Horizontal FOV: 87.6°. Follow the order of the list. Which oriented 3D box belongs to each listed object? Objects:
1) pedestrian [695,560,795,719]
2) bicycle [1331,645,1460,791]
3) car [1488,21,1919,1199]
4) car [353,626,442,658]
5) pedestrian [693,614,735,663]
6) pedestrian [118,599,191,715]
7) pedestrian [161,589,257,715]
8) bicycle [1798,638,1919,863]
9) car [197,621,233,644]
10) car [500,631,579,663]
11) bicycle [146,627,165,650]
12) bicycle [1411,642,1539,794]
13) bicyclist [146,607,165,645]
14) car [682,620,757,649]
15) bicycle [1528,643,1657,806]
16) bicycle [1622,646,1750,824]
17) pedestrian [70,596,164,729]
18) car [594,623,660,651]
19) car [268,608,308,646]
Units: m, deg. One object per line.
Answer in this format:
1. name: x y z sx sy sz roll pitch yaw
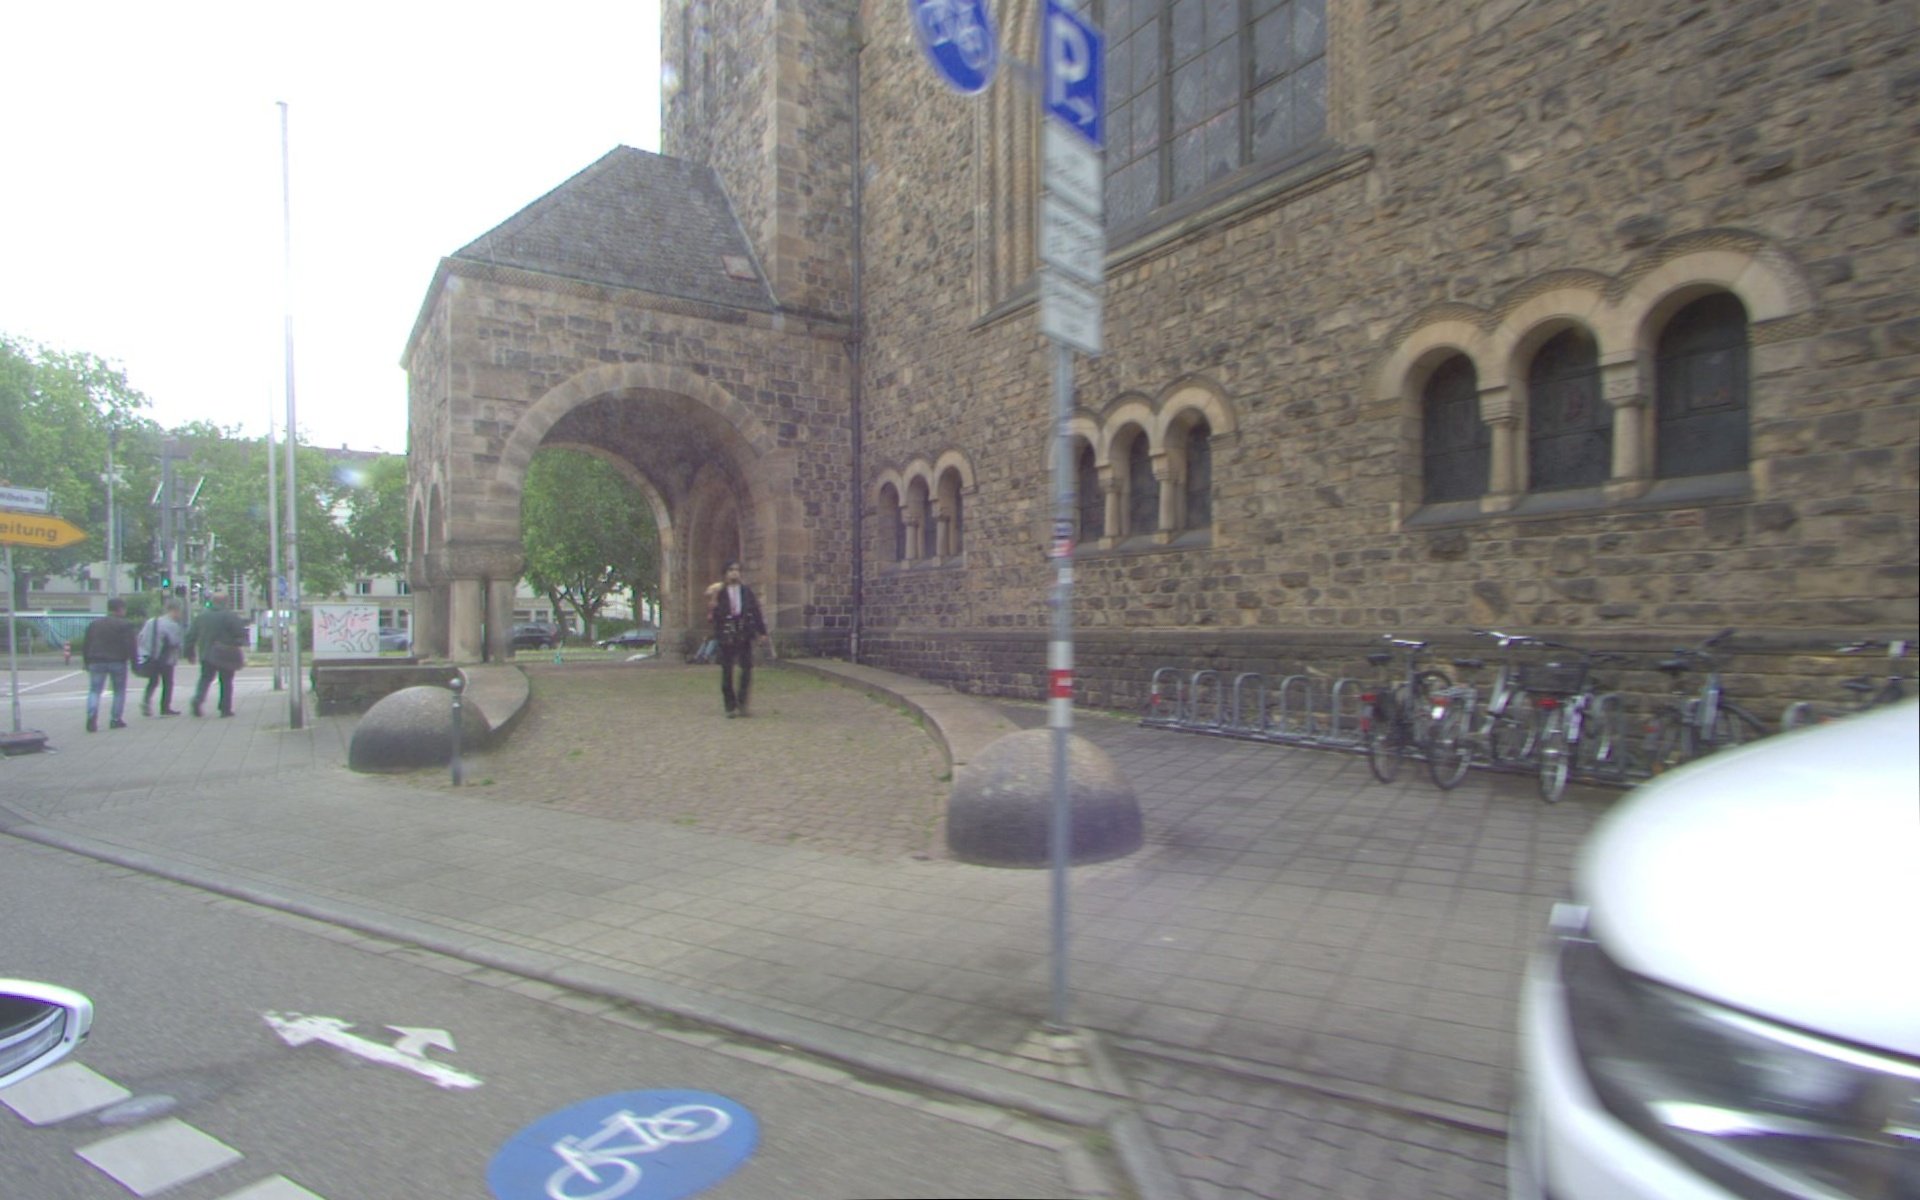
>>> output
1. pedestrian: -2.642 0.449 12.243 0.806 1.834 1.012 0 3 -37
2. bicycle: 3.531 0.912 8.069 1.366 1.073 0.309 1 -1 -36
3. car: 3.193 0.446 0.525 5.088 1.945 1.802 -1 -1 31
4. car: -29.346 2.175 52.248 3.939 1.581 1.676 1 -1 -35
5. pedestrian: -5.002 0.779 20.358 0.665 0.964 0.611 0 -1 -36
6. pedestrian: -12.235 0.843 15.215 0.957 1.695 0.630 0 2 39
7. pedestrian: -11.122 0.742 14.839 0.955 1.782 0.802 0 2 32
8. bicycle: 5.225 0.806 5.759 1.327 1.161 0.309 1 -1 -36
9. car: -51.633 2.256 69.436 1.647 1.535 3.917 1 -1 -31
10. car: -23.729 2.613 56.567 3.899 1.733 1.676 1 -1 -35
11. bicycle: -36.076 1.725 44.910 0.546 1.008 2.047 0 -1 -35
12. bicycle: 4.021 0.876 7.785 1.366 1.073 0.309 1 -1 -36
13. bicyclist: -36.061 1.167 44.895 0.608 1.675 0.749 0 -1 -36
14. car: -17.913 2.535 74.680 5.023 2.123 1.980 1 -1 -35
15. bicycle: 4.590 0.857 7.242 1.366 1.073 0.309 1 -1 -36
16. bicycle: 4.902 0.863 6.737 1.327 1.073 0.309 1 -1 -36
17. pedestrian: -11.360 0.815 13.495 0.955 1.708 0.673 0 2 32
18. car: -19.719 2.191 59.285 3.423 1.581 1.676 1 -1 -35
19. car: -50.114 2.003 74.726 2.211 2.673 5.417 0 -1 -31
